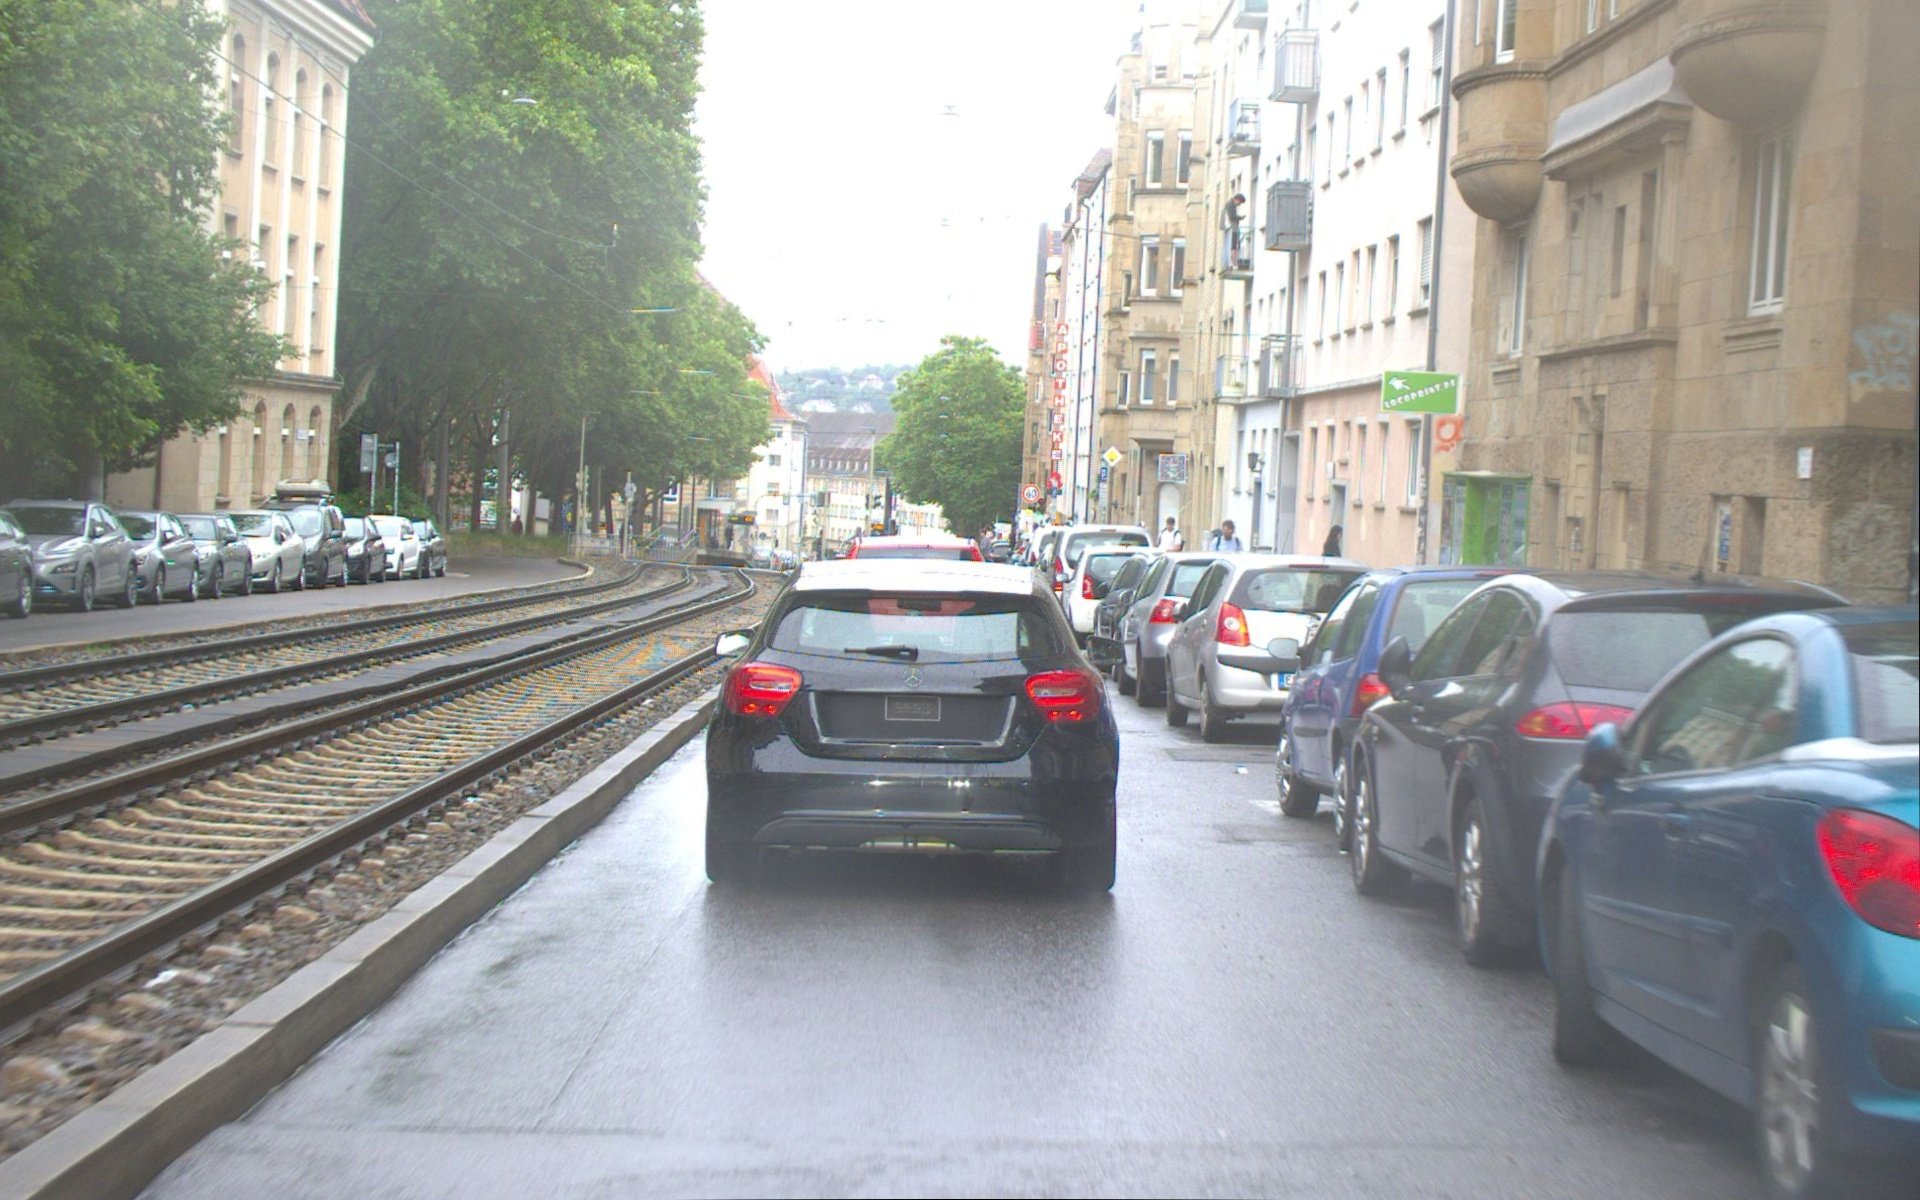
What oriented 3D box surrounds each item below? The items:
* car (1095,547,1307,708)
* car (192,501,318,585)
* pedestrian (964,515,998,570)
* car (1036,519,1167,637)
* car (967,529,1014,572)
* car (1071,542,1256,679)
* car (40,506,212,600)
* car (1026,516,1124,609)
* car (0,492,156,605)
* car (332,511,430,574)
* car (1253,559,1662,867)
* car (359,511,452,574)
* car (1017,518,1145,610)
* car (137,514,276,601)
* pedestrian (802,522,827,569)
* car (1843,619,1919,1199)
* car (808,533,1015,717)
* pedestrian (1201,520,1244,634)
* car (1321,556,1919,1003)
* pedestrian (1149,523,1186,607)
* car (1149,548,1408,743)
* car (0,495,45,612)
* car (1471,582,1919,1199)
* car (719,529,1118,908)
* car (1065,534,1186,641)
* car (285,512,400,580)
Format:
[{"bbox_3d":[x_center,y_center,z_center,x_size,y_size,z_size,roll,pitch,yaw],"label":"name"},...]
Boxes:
[{"bbox_3d":[2.285,0.222,33.505,1.668,1.429,3.956,1,1,-1],"label":"car"},{"bbox_3d":[-12.945,-1.066,63.352,1.539,1.500,4.155,0,1,-1],"label":"car"},{"bbox_3d":[0.749,-2.094,124.599,1.137,1.991,1.173,0,1,-4],"label":"pedestrian"},{"bbox_3d":[2.184,-0.384,54.086,1.791,1.759,4.212,1,1,-1],"label":"car"},{"bbox_3d":[1.212,-1.980,136.633,1.827,1.612,3.864,0,2,0],"label":"car"},{"bbox_3d":[2.261,0.076,39.161,1.669,1.405,4.312,1,1,-2],"label":"car"},{"bbox_3d":[-12.955,-0.751,53.626,1.754,1.409,4.154,0,1,-1],"label":"car"},{"bbox_3d":[2.282,-0.773,68.887,1.828,1.744,4.467,2,1,1],"label":"car"},{"bbox_3d":[-12.749,-0.742,48.662,1.754,1.531,4.543,0,1,-1],"label":"car"},{"bbox_3d":[-13.138,-1.312,78.160,1.500,1.386,3.987,0,1,1],"label":"car"},{"bbox_3d":[2.543,0.525,18.275,1.543,1.410,3.447,2,1,-2],"label":"car"},{"bbox_3d":[-13.259,-1.392,82.360,1.614,1.424,3.853,1,2,-1],"label":"car"},{"bbox_3d":[2.043,-0.659,59.428,1.871,1.450,4.903,2,1,-1],"label":"car"},{"bbox_3d":[-12.640,-0.727,57.863,1.539,1.409,3.953,0,1,-1],"label":"car"},{"bbox_3d":[-5.051,-1.895,119.479,0.806,1.628,0.892,0,1,0],"label":"pedestrian"},{"bbox_3d":[2.434,0.776,3.322,1.754,1.382,4.486,0,1,-4],"label":"car"},{"bbox_3d":[-0.438,0.181,32.558,1.785,1.575,4.000,2,1,0],"label":"car"},{"bbox_3d":[4.077,-0.362,53.410,0.607,1.757,0.688,0,1,-1],"label":"pedestrian"},{"bbox_3d":[2.641,0.596,13.849,1.787,1.457,4.084,2,1,-2],"label":"car"},{"bbox_3d":[4.577,-0.777,75.806,0.746,1.827,1.039,-1,1,1],"label":"pedestrian"},{"bbox_3d":[2.527,0.322,28.014,1.590,1.429,3.685,1,1,-2],"label":"car"},{"bbox_3d":[-12.841,-0.579,42.771,1.849,1.459,4.551,0,1,-2],"label":"car"},{"bbox_3d":[2.541,0.707,8.836,1.707,1.393,4.019,2,1,-2],"label":"car"},{"bbox_3d":[-0.193,0.447,15.836,1.580,1.499,3.575,2,1,-1],"label":"car"},{"bbox_3d":[2.376,-0.215,50.053,1.570,1.457,3.600,1,1,0],"label":"car"},{"bbox_3d":[-13.157,-1.165,73.417,1.675,1.409,4.010,0,1,1],"label":"car"}]
